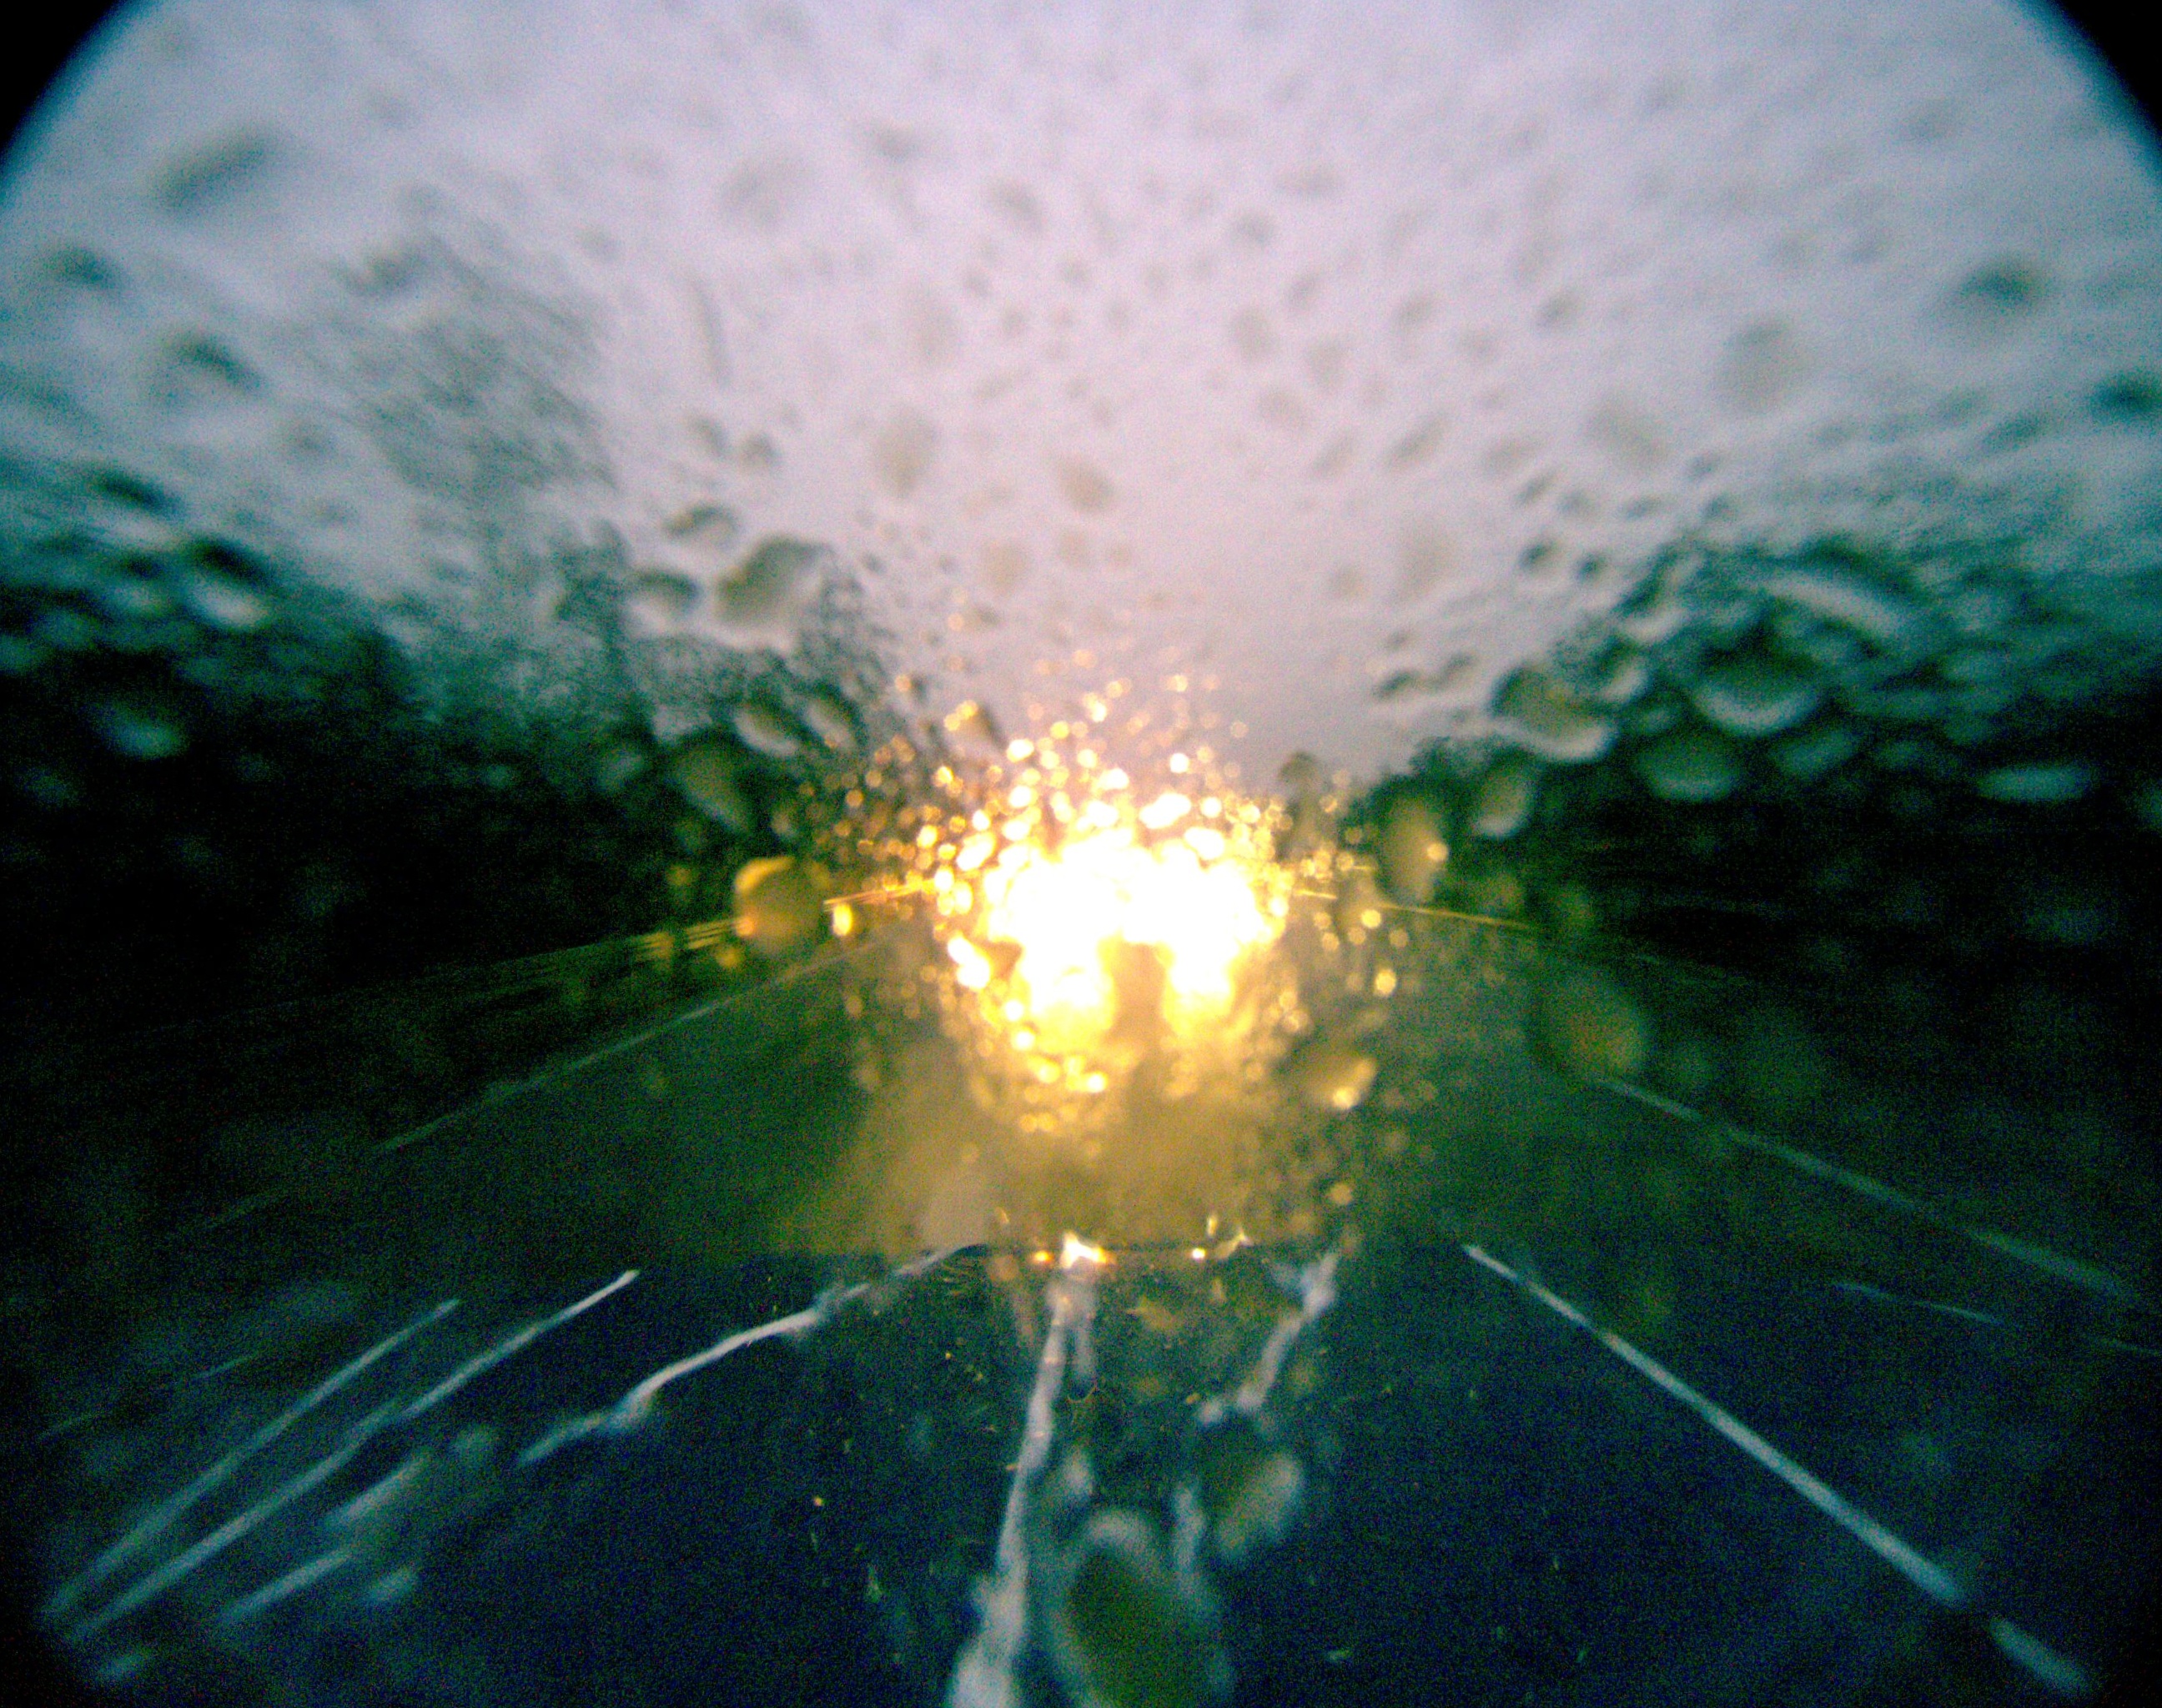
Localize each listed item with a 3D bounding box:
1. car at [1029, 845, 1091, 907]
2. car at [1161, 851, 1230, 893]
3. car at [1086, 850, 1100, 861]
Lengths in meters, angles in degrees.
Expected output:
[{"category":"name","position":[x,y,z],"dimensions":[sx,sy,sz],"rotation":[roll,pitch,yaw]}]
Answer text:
[{"category":"car","position":[-0.702,0.724,26.966],"dimensions":[1.999,2.002,3.963],"rotation":[-1,0,0]},{"category":"car","position":[4.529,0.661,30.595],"dimensions":[1.803,1.459,4.412],"rotation":[-3,0,-4]},{"category":"car","position":[1.311,0.180,86.957],"dimensions":[1.482,1.198,3.348],"rotation":[-3,1,0]}]
